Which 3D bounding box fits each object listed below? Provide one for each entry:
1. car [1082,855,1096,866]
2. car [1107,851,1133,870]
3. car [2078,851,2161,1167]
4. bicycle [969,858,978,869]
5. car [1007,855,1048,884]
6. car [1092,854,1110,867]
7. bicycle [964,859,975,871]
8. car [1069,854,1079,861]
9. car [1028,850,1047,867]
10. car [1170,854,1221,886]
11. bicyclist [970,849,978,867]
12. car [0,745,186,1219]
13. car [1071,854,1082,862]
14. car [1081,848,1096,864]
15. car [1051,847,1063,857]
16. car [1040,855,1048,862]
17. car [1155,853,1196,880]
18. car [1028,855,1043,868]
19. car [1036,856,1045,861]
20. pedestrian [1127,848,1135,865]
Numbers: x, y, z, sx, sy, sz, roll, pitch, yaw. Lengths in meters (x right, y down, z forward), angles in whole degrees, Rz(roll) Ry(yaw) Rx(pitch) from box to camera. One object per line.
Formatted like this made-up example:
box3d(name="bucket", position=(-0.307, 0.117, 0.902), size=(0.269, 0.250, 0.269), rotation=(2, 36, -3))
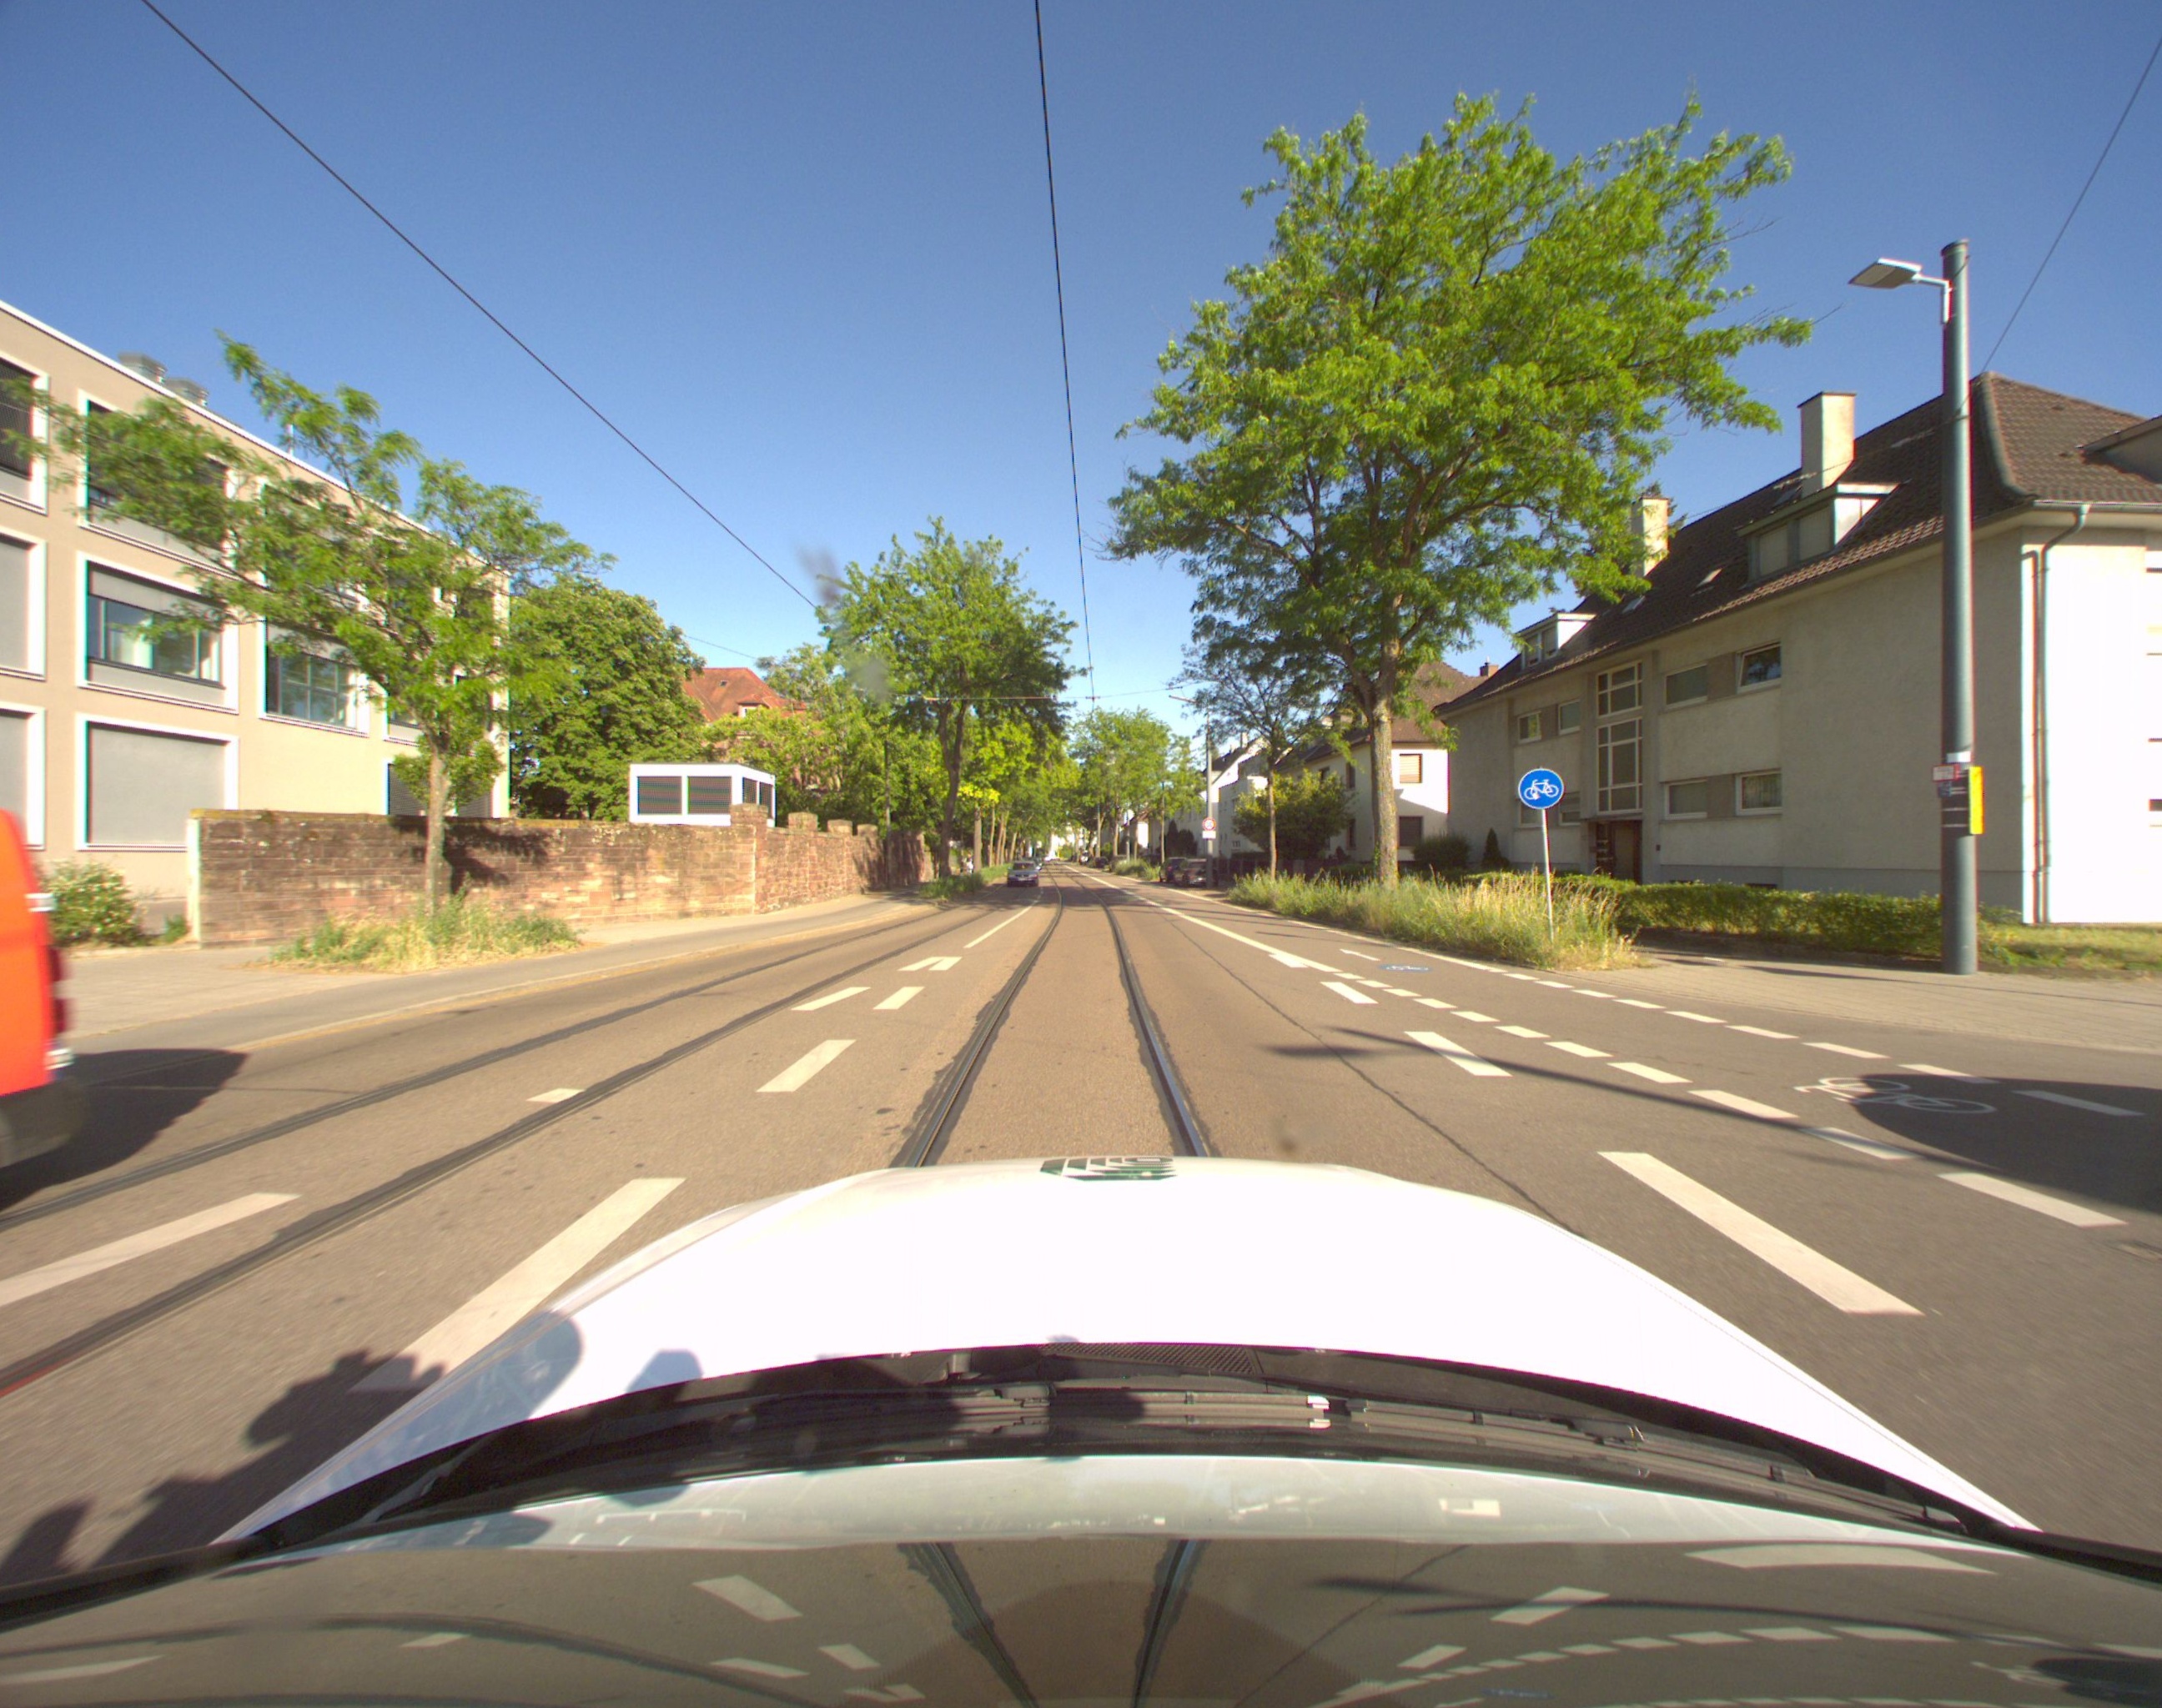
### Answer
box3d(name="car", position=(1.139, 0.866, 116.535), size=(1.623, 1.397, 3.641), rotation=(-3, 0, -3))
box3d(name="car", position=(3.813, 0.666, 80.321), size=(1.990, 1.704, 4.471), rotation=(-3, 0, -4))
box3d(name="car", position=(7.053, 0.739, 3.048), size=(3.966, 1.508, 1.986), rotation=(0, 0, 6))
box3d(name="bicycle", position=(-9.274, 0.823, 70.486), size=(0.588, 0.960, 2.130), rotation=(-1, 0, -2))
box3d(name="car", position=(-2.976, 0.841, 46.016), size=(1.987, 1.524, 4.579), rotation=(0, 0, 0))
box3d(name="car", position=(2.563, 0.823, 106.566), size=(1.781, 1.448, 4.294), rotation=(-3, 0, -5))
box3d(name="bicycle", position=(-9.156, 0.902, 66.857), size=(0.709, 0.960, 2.093), rotation=(-1, 0, -2))
box3d(name="car", position=(-1.600, 0.802, 187.355), size=(1.996, 1.675, 4.393), rotation=(-2, 0, 1))
box3d(name="car", position=(-3.956, 0.388, 74.273), size=(1.744, 1.524, 4.031), rotation=(0, 0, -3))
box3d(name="car", position=(5.846, 0.781, 41.984), size=(1.744, 1.495, 4.438), rotation=(-1, 0, -3))
box3d(name="bicyclist", position=(-9.279, 0.355, 70.511), size=(0.592, 1.527, 1.060), rotation=(-1, 0, -2))
box3d(name="car", position=(-5.773, 0.538, 1.700), size=(1.982, 1.966, 4.947), rotation=(-1, 0, 9))
box3d(name="car", position=(-1.008, 0.845, 169.823), size=(1.998, 1.675, 4.387), rotation=(-2, 0, -3))
box3d(name="car", position=(1.239, 0.317, 137.921), size=(2.240, 2.654, 5.578), rotation=(-2, 0, -3))
box3d(name="car", position=(-6.398, -0.515, 216.405), size=(1.998, 2.458, 4.484), rotation=(-1, 0, -16))
box3d(name="car", position=(-9.020, 1.066, 199.481), size=(1.862, 1.675, 4.168), rotation=(-1, 0, -3))
box3d(name="car", position=(5.515, 0.712, 47.958), size=(1.744, 1.495, 3.992), rotation=(-1, 0, -3))
box3d(name="car", position=(-5.400, 0.928, 97.291), size=(1.744, 1.524, 4.065), rotation=(0, 0, -3))
box3d(name="car", position=(-11.956, 1.276, 240.419), size=(2.007, 1.560, 4.369), rotation=(-1, 0, -15))
box3d(name="pedestrian", position=(5.537, 0.272, 90.539), size=(0.624, 1.870, 0.731), rotation=(-3, 0, -4))
